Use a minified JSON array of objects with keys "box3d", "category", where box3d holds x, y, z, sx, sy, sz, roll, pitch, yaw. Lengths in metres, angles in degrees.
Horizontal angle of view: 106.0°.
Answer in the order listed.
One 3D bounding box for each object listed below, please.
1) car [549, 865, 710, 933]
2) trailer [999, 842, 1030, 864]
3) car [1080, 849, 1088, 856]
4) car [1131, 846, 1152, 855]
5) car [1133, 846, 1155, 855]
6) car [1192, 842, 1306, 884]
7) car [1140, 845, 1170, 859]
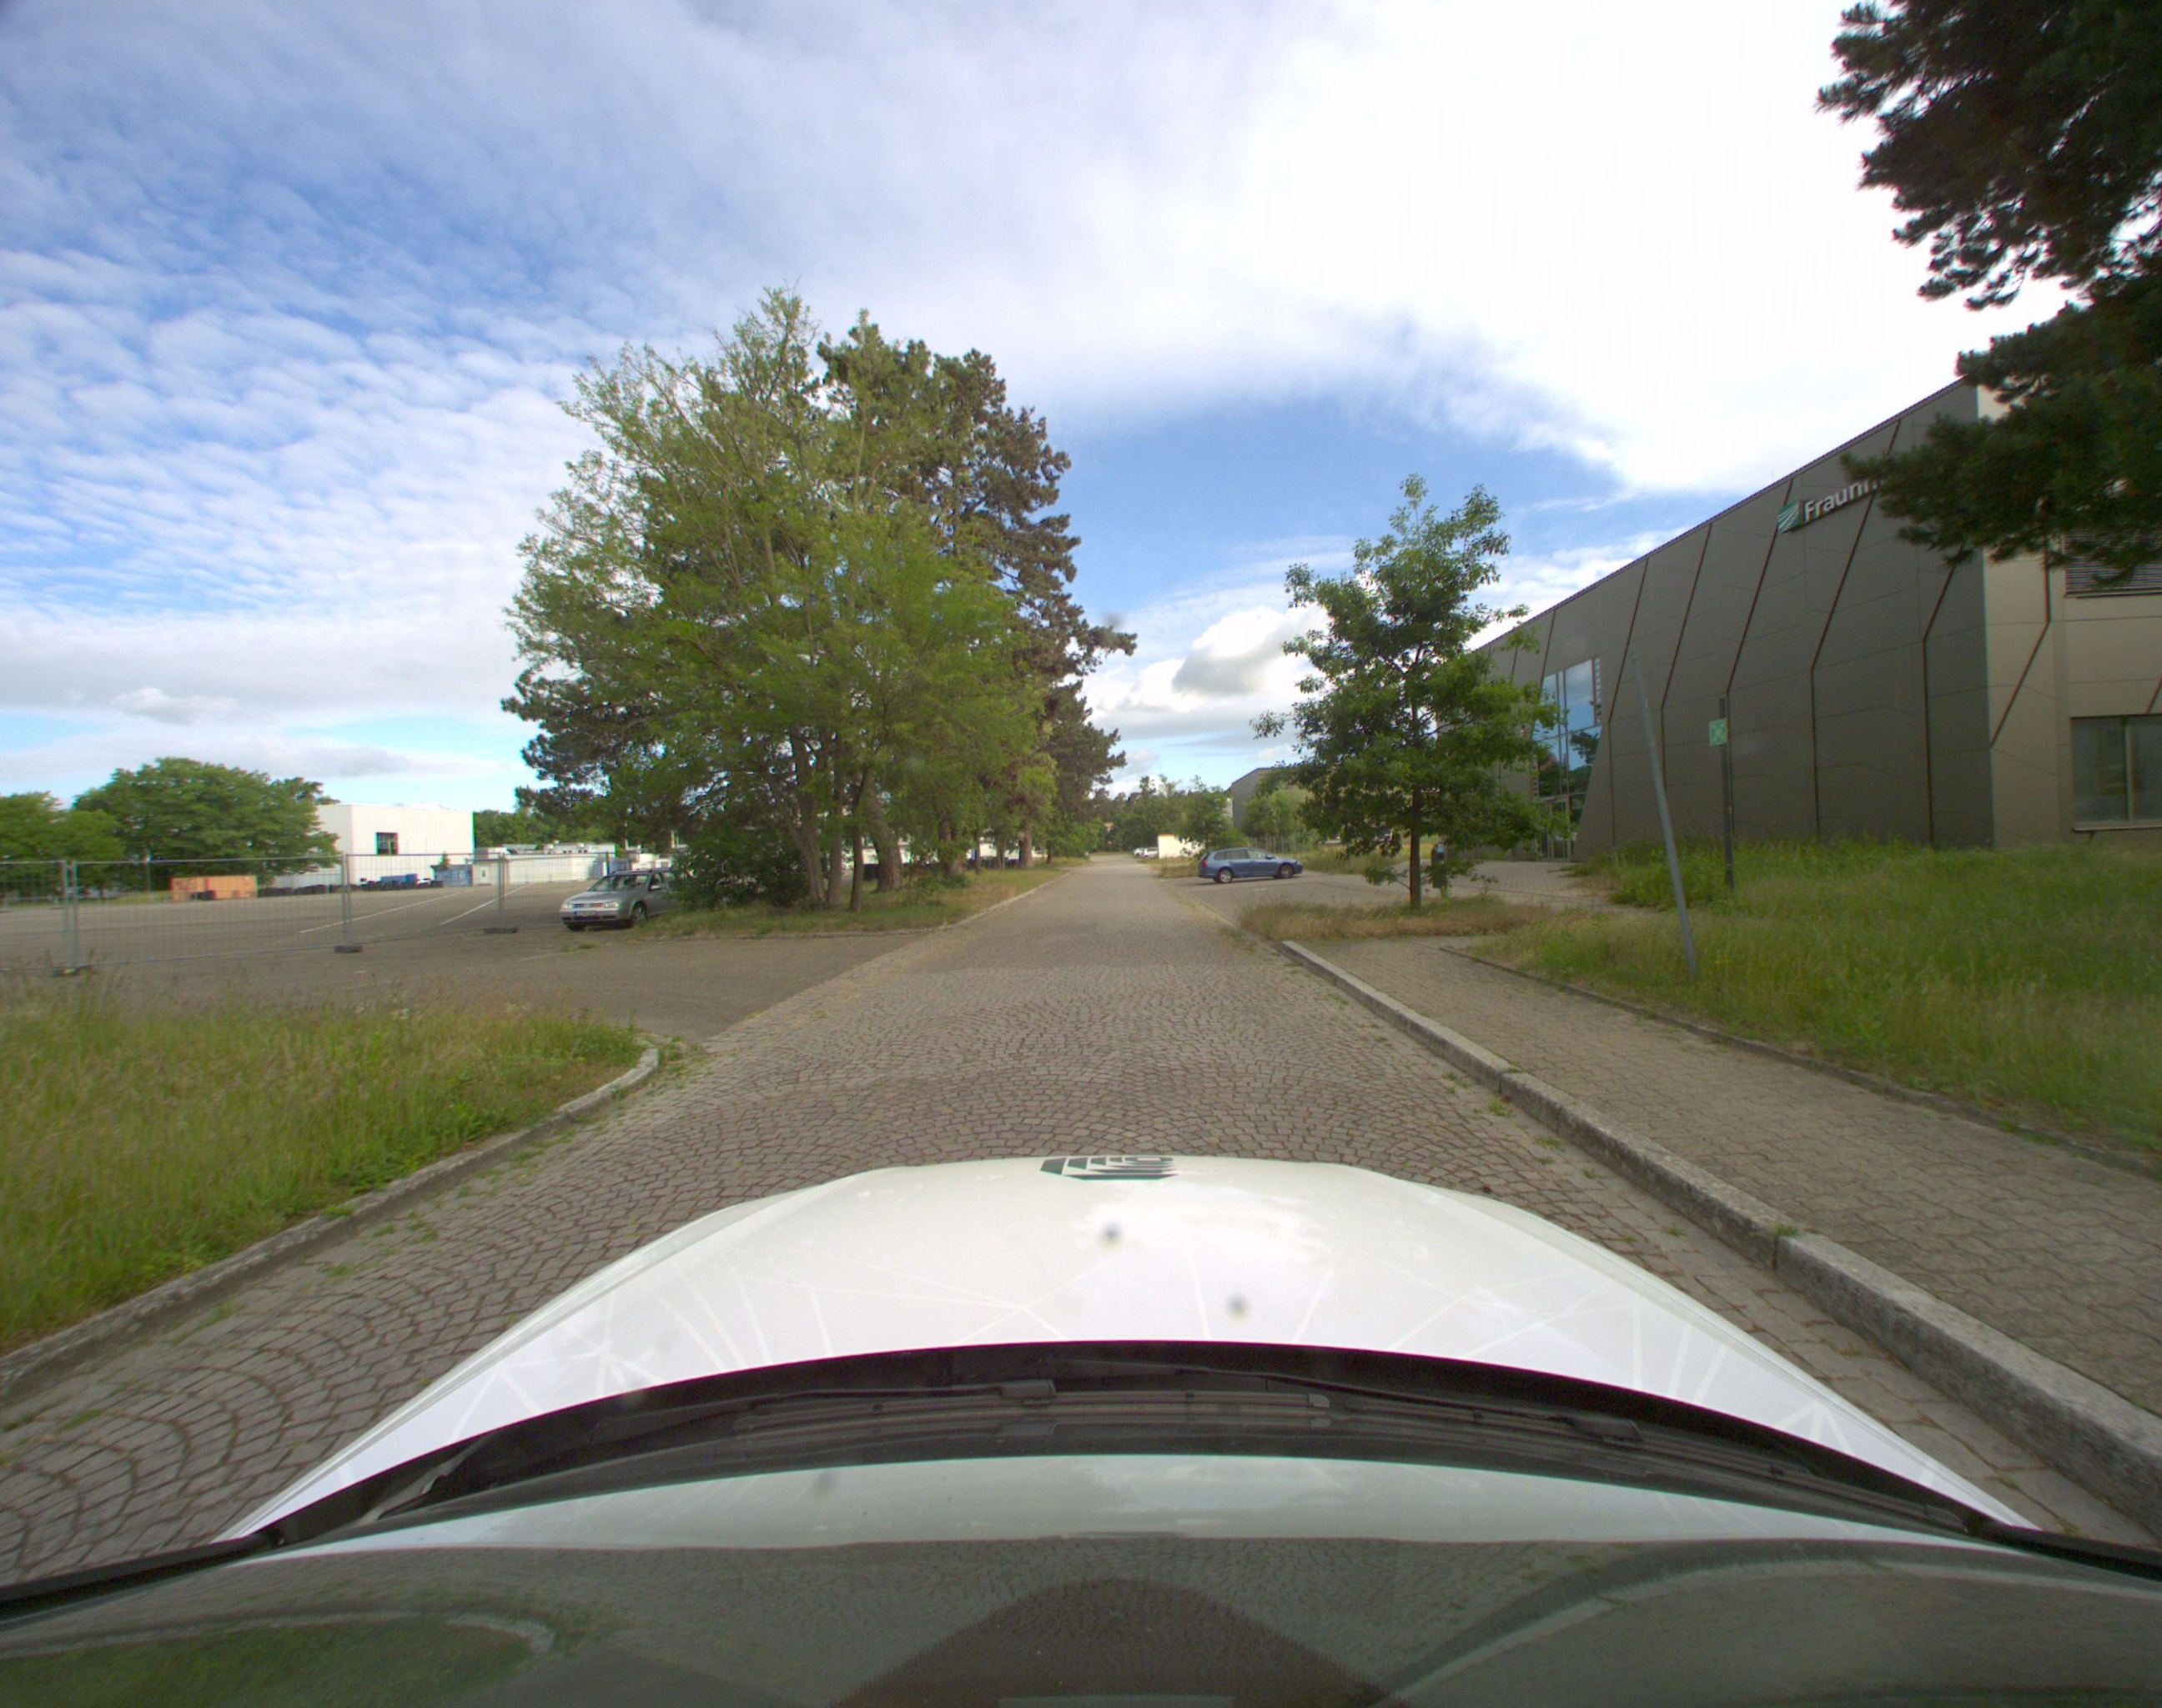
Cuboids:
[{"box3d":[-11.759,1.104,21.599,1.710,1.438,4.466,-2,0,0],"category":"car"},{"box3d":[-9.860,-0.235,122.342,3.144,3.067,8.794,-2,0,4],"category":"trailer"},{"box3d":[0.614,-0.379,183.985,1.798,1.535,4.000,-2,0,0],"category":"car"},{"box3d":[11.917,-0.599,160.765,3.975,1.601,1.729,-2,0,-1],"category":"car"},{"box3d":[12.003,-0.694,155.202,4.008,1.501,1.549,-2,0,3],"category":"car"},{"box3d":[7.270,0.362,35.523,4.509,1.443,1.823,-4,0,-2],"category":"car"},{"box3d":[9.878,-0.258,109.068,3.838,1.654,1.686,-2,0,-1],"category":"car"}]
